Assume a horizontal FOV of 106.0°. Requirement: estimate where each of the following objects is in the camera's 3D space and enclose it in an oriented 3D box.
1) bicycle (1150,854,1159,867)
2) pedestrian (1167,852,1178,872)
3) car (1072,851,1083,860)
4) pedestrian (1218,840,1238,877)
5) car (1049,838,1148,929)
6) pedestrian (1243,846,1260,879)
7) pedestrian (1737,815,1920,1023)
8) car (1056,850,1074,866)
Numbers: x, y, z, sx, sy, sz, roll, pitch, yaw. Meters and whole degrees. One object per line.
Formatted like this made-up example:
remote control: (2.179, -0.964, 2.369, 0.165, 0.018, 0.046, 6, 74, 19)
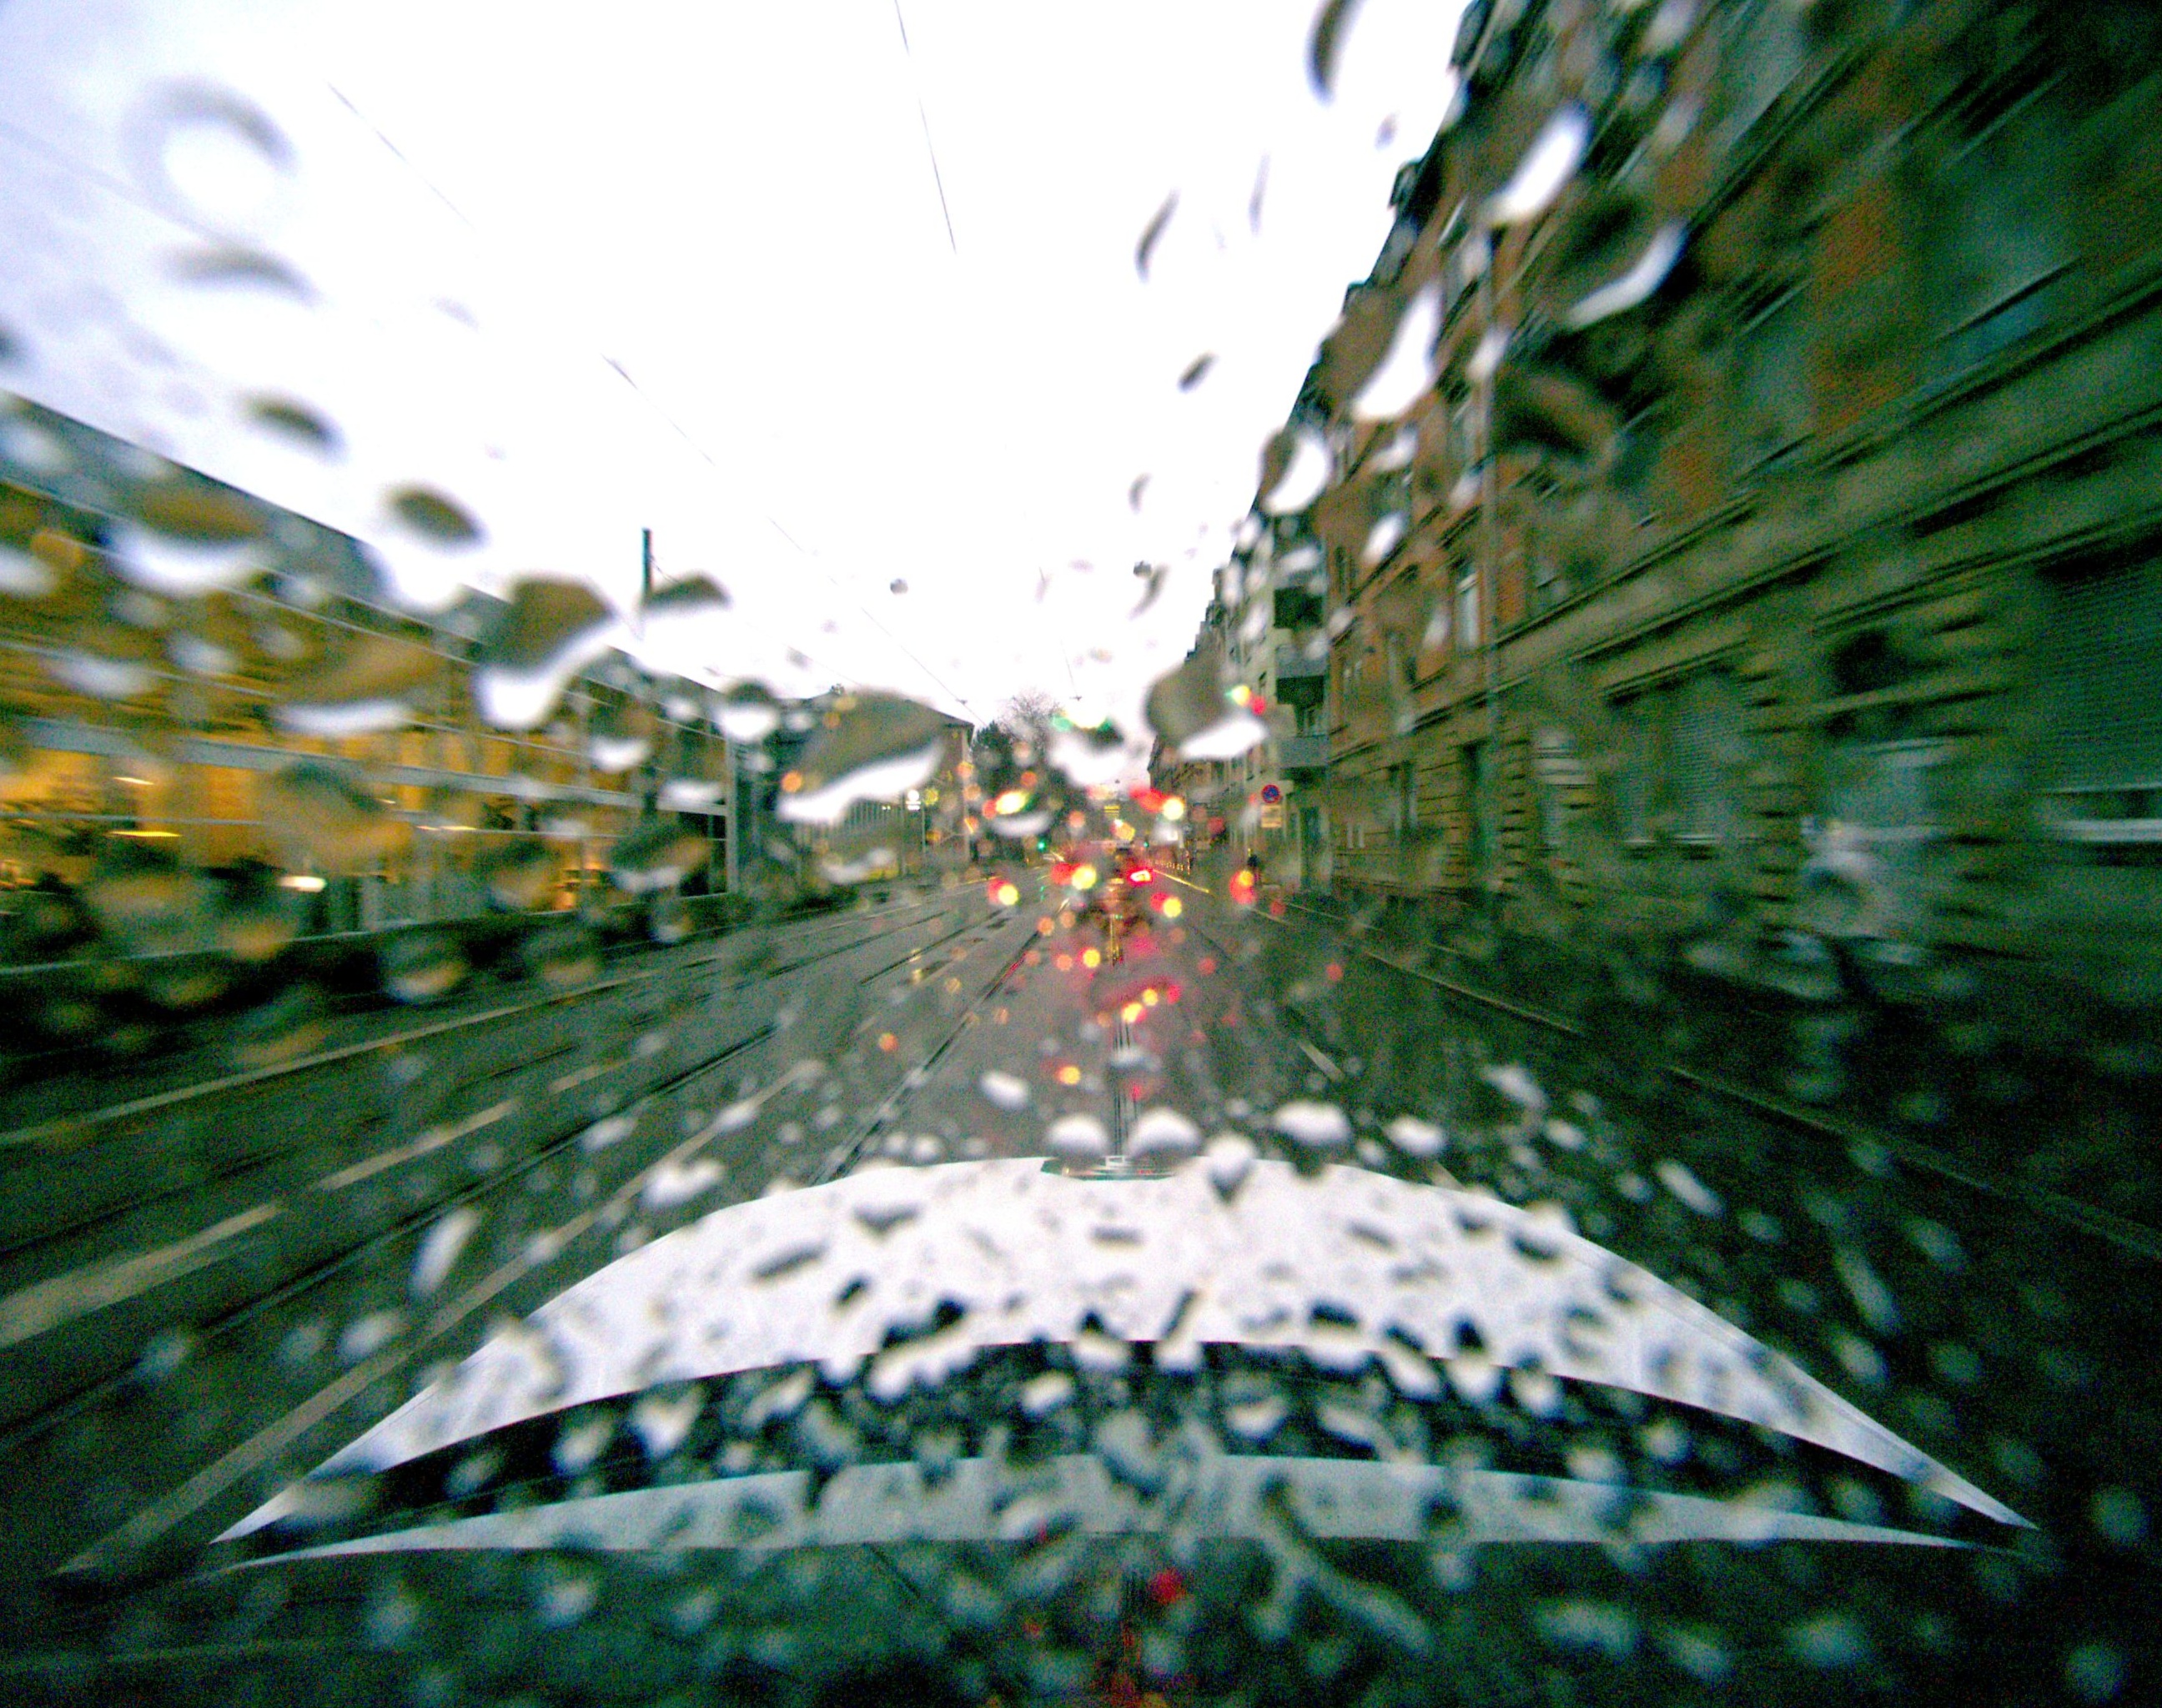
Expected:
bicycle: (6.716, 0.595, 74.082, 0.681, 1.156, 2.189, -1, 0, 2)
pedestrian: (7.999, 0.706, 71.113, 0.829, 1.701, 0.956, -1, -1, 10)
car: (-0.470, 0.219, 127.993, 1.524, 1.481, 3.563, -2, 0, 2)
pedestrian: (7.329, 0.223, 40.577, 0.601, 1.818, 0.769, -1, -1, -26)
car: (0.518, 0.606, 18.851, 1.984, 1.842, 4.005, -1, 0, 5)
pedestrian: (7.324, 0.366, 35.046, 0.597, 1.376, 0.728, -1, -1, 1)
pedestrian: (6.119, 0.506, 6.714, 0.783, 1.597, 0.742, -2, 0, 3)
car: (-1.850, 0.444, 96.212, 1.868, 1.709, 4.762, -2, 0, 1)
